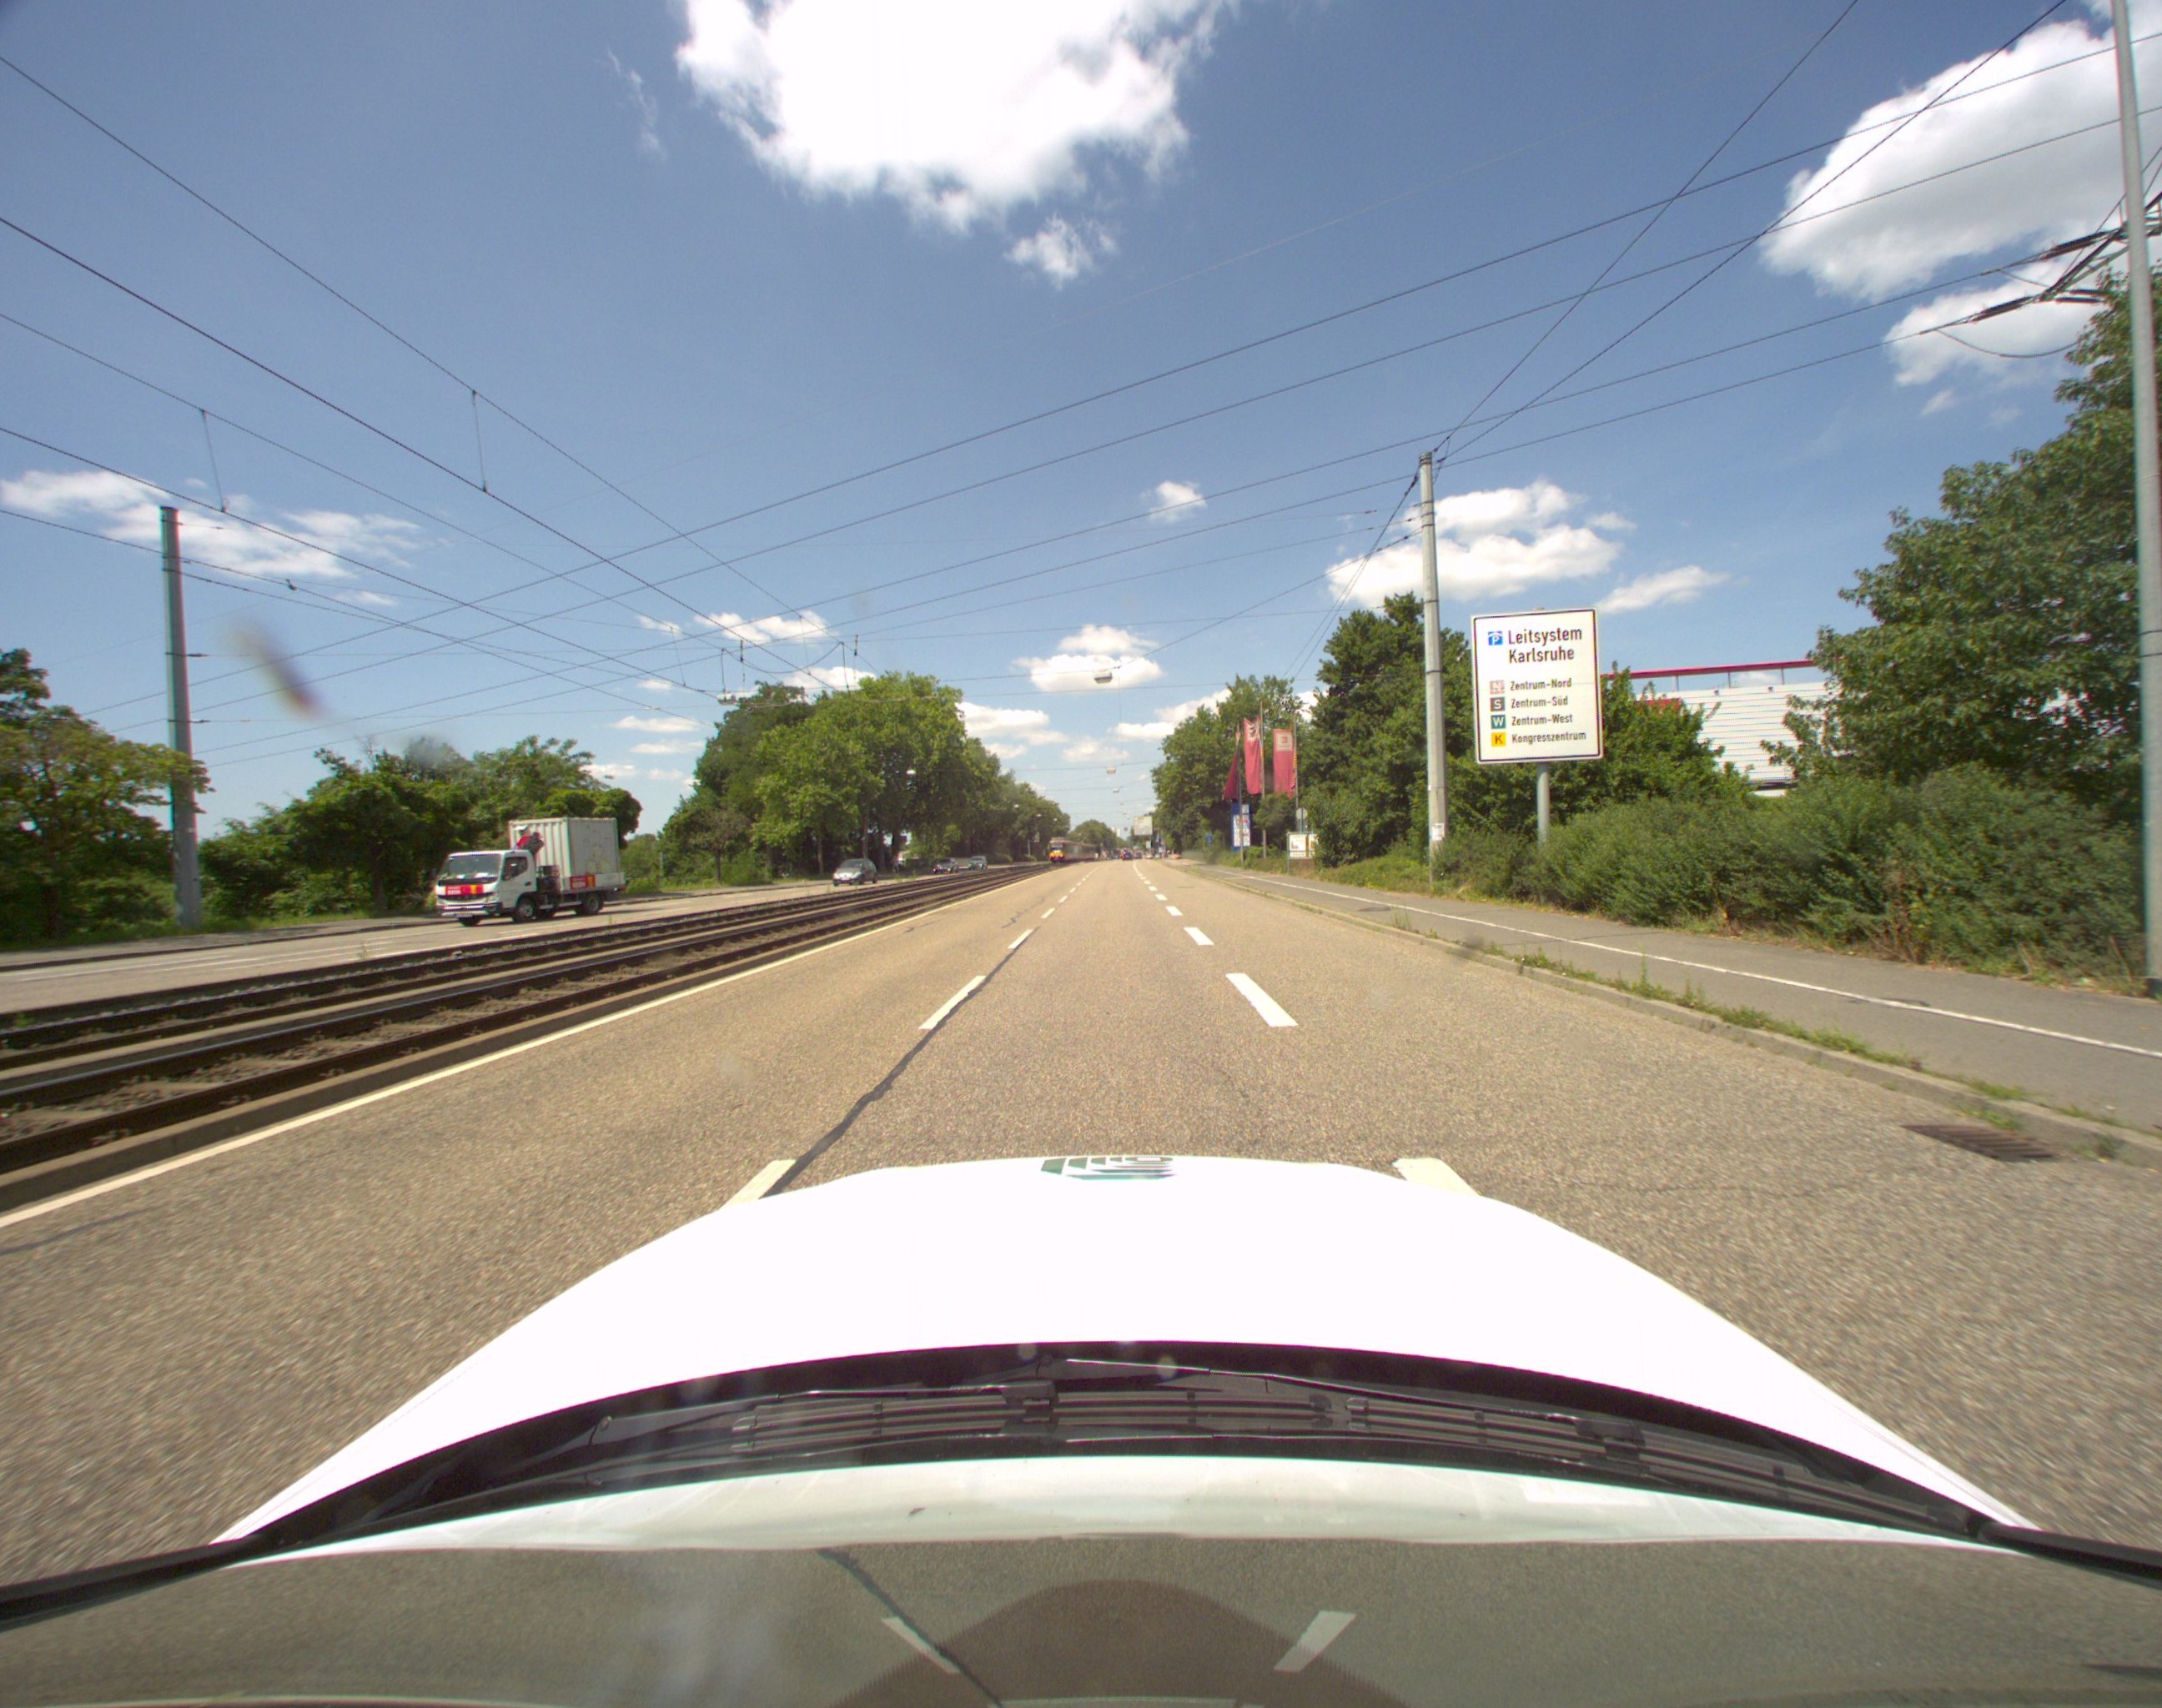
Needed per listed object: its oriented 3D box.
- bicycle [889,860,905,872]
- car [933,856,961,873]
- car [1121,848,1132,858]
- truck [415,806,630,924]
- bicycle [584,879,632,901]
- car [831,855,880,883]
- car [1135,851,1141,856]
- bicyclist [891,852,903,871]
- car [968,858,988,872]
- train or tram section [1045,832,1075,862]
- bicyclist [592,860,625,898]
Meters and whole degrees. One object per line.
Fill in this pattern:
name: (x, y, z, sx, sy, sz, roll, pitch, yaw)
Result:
bicycle: (-16.037, 1.048, 70.921, 0.619, 0.979, 2.059, 1, 0, 8)
car: (-12.296, 0.962, 75.175, 1.630, 1.421, 4.131, -3, 0, 3)
car: (8.070, -0.209, 145.169, 1.892, 1.805, 3.978, 0, 0, 2)
truck: (-17.292, 0.292, 25.800, 2.240, 3.236, 6.048, -2, 0, 4)
bicycle: (-20.511, 1.563, 35.360, 0.647, 0.859, 2.124, 0, 0, 6)
car: (-13.648, 0.907, 49.492, 1.746, 1.535, 3.958, -3, 0, 1)
car: (17.563, -0.241, 250.711, 1.869, 1.539, 3.778, 0, 0, 2)
bicyclist: (-16.029, 0.616, 70.876, 0.619, 1.617, 1.064, 0, 0, 8)
car: (-11.515, 1.215, 91.486, 1.630, 1.436, 3.723, -3, 0, 2)
train or tram section: (-3.152, -1.091, 127.481, 3.035, 4.267, 15.438, -2, 0, 4)
bicyclist: (-20.505, 1.075, 35.351, 0.647, 1.620, 1.157, 0, 0, 6)
